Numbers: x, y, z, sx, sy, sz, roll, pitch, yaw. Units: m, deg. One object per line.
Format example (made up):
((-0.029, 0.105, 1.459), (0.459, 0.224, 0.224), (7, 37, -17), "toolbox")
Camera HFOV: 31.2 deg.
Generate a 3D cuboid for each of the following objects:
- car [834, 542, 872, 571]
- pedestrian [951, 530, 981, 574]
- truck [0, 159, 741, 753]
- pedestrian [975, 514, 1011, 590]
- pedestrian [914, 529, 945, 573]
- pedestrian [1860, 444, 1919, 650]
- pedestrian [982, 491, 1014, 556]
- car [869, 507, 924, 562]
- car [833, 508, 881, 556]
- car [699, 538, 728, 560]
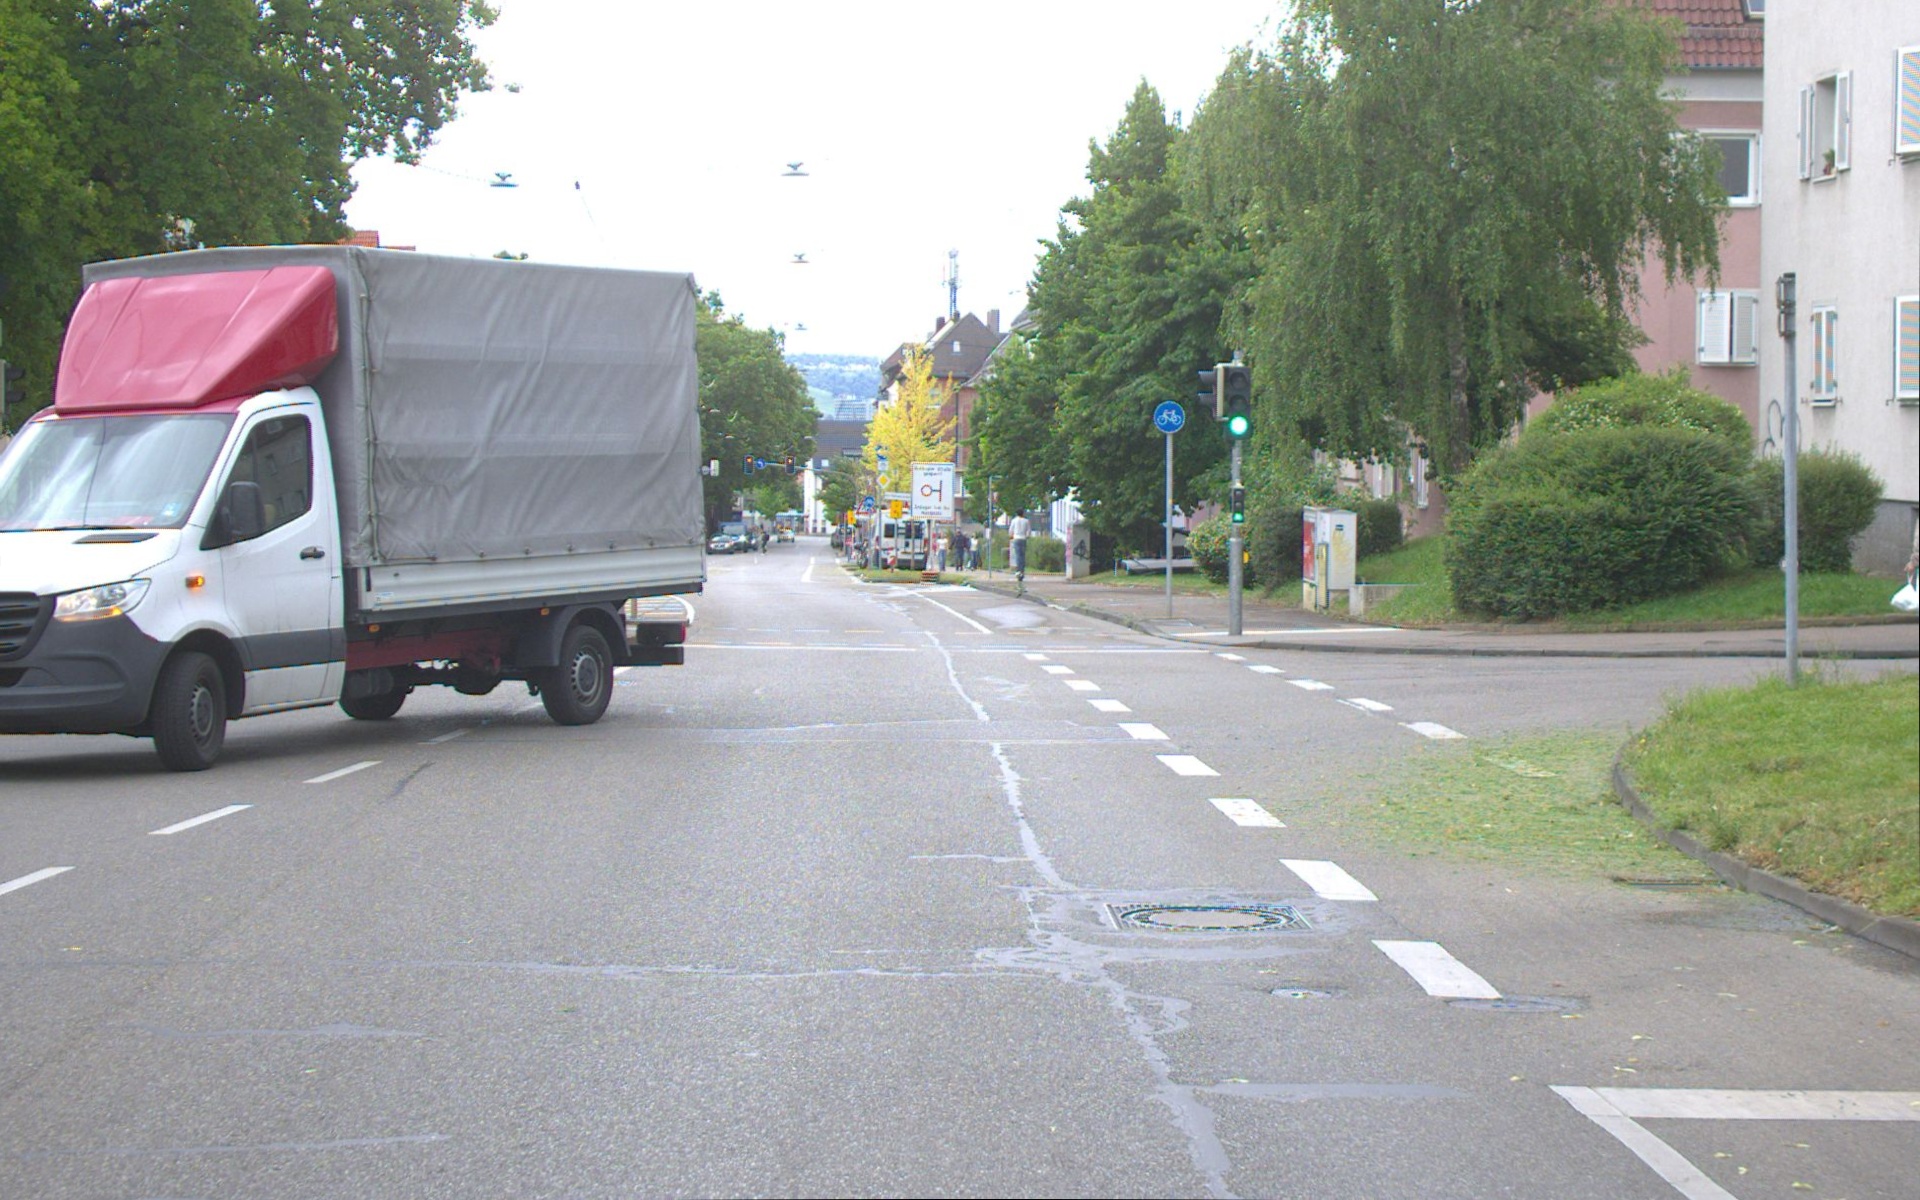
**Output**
((-6.206, -2.538, 198.907), (1.993, 1.650, 4.001), (1, 1, -4), "car")
((0.234, -2.006, 142.935), (1.200, 1.804, 1.301), (1, 1, -1), "pedestrian")
((-4.416, -0.877, 22.897), (2.535, 3.295, 7.240), (1, 1, 27), "truck")
((0.964, -1.401, 100.730), (0.990, 2.200, 0.938), (1, 1, 1), "pedestrian")
((-1.270, -2.044, 143.604), (1.200, 1.804, 1.301), (1, 1, 1), "pedestrian")
((8.809, -0.497, 31.304), (0.747, 1.849, 0.955), (-3, 2, -16), "pedestrian")
((1.296, -2.623, 118.414), (0.989, 2.200, 0.938), (1, 1, -4), "pedestrian")
((-2.378, -2.462, 129.422), (1.993, 2.007, 4.000), (1, 1, -1), "car")
((-4.868, -3.200, 162.290), (1.993, 2.165, 4.001), (1, 1, -5), "car")
((-17.330, -3.610, 241.819), (1.993, 1.500, 4.001), (1, 1, -3), "car")
